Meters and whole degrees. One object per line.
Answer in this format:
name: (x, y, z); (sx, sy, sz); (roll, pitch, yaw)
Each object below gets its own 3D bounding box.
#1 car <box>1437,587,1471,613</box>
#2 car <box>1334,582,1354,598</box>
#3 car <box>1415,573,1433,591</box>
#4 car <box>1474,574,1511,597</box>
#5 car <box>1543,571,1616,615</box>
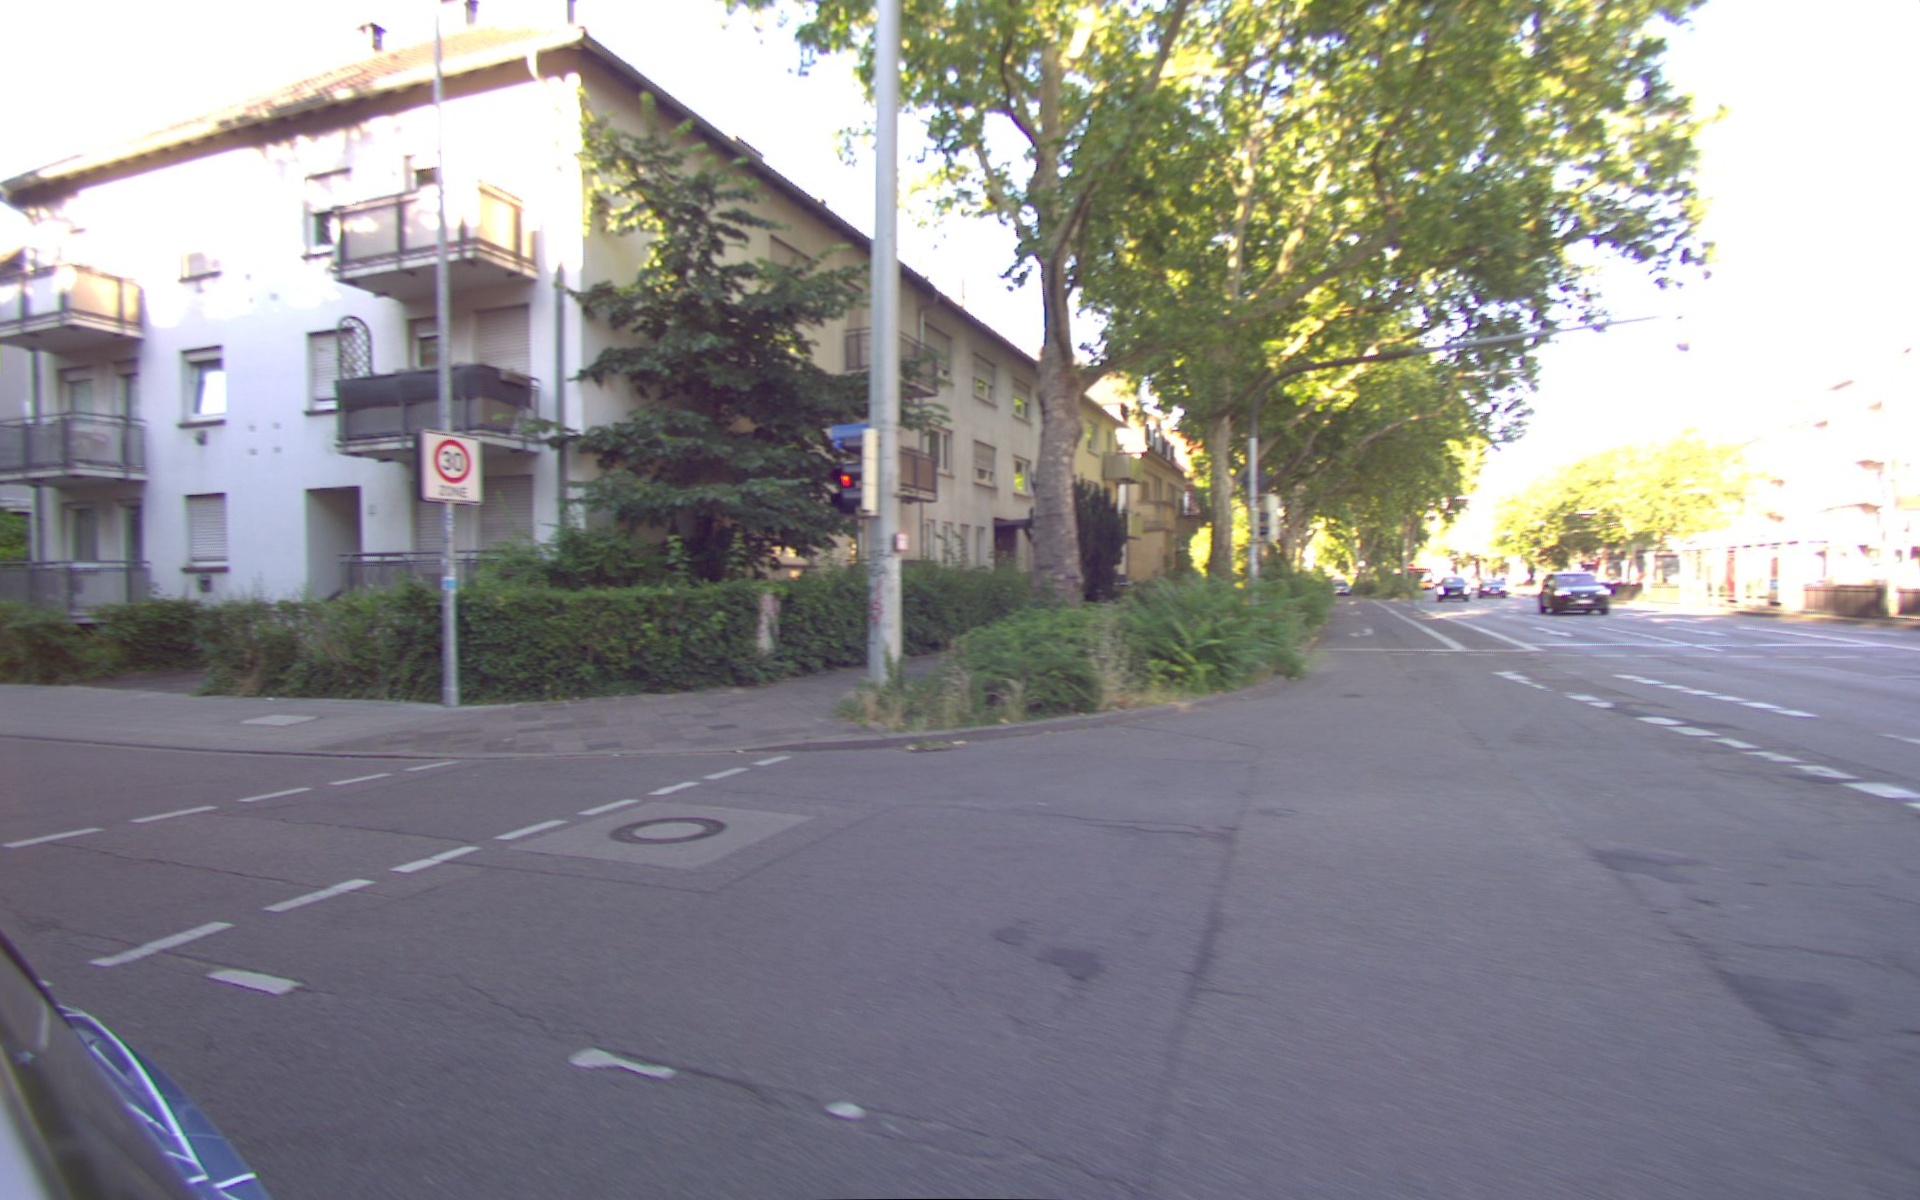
car: (31.802, -0.007, 65.240); (1.868, 1.608, 3.967); (0, 1, 24)
car: (38.554, -1.037, 101.699); (1.866, 1.608, 3.973); (0, 1, 21)
car: (62.032, -2.379, 135.397); (1.866, 2.309, 3.973); (0, 1, 21)
car: (38.243, -1.064, 72.734); (1.866, 1.608, 3.973); (0, 1, 21)
car: (23.628, -0.277, 38.719); (1.868, 1.608, 3.967); (0, 1, 24)
